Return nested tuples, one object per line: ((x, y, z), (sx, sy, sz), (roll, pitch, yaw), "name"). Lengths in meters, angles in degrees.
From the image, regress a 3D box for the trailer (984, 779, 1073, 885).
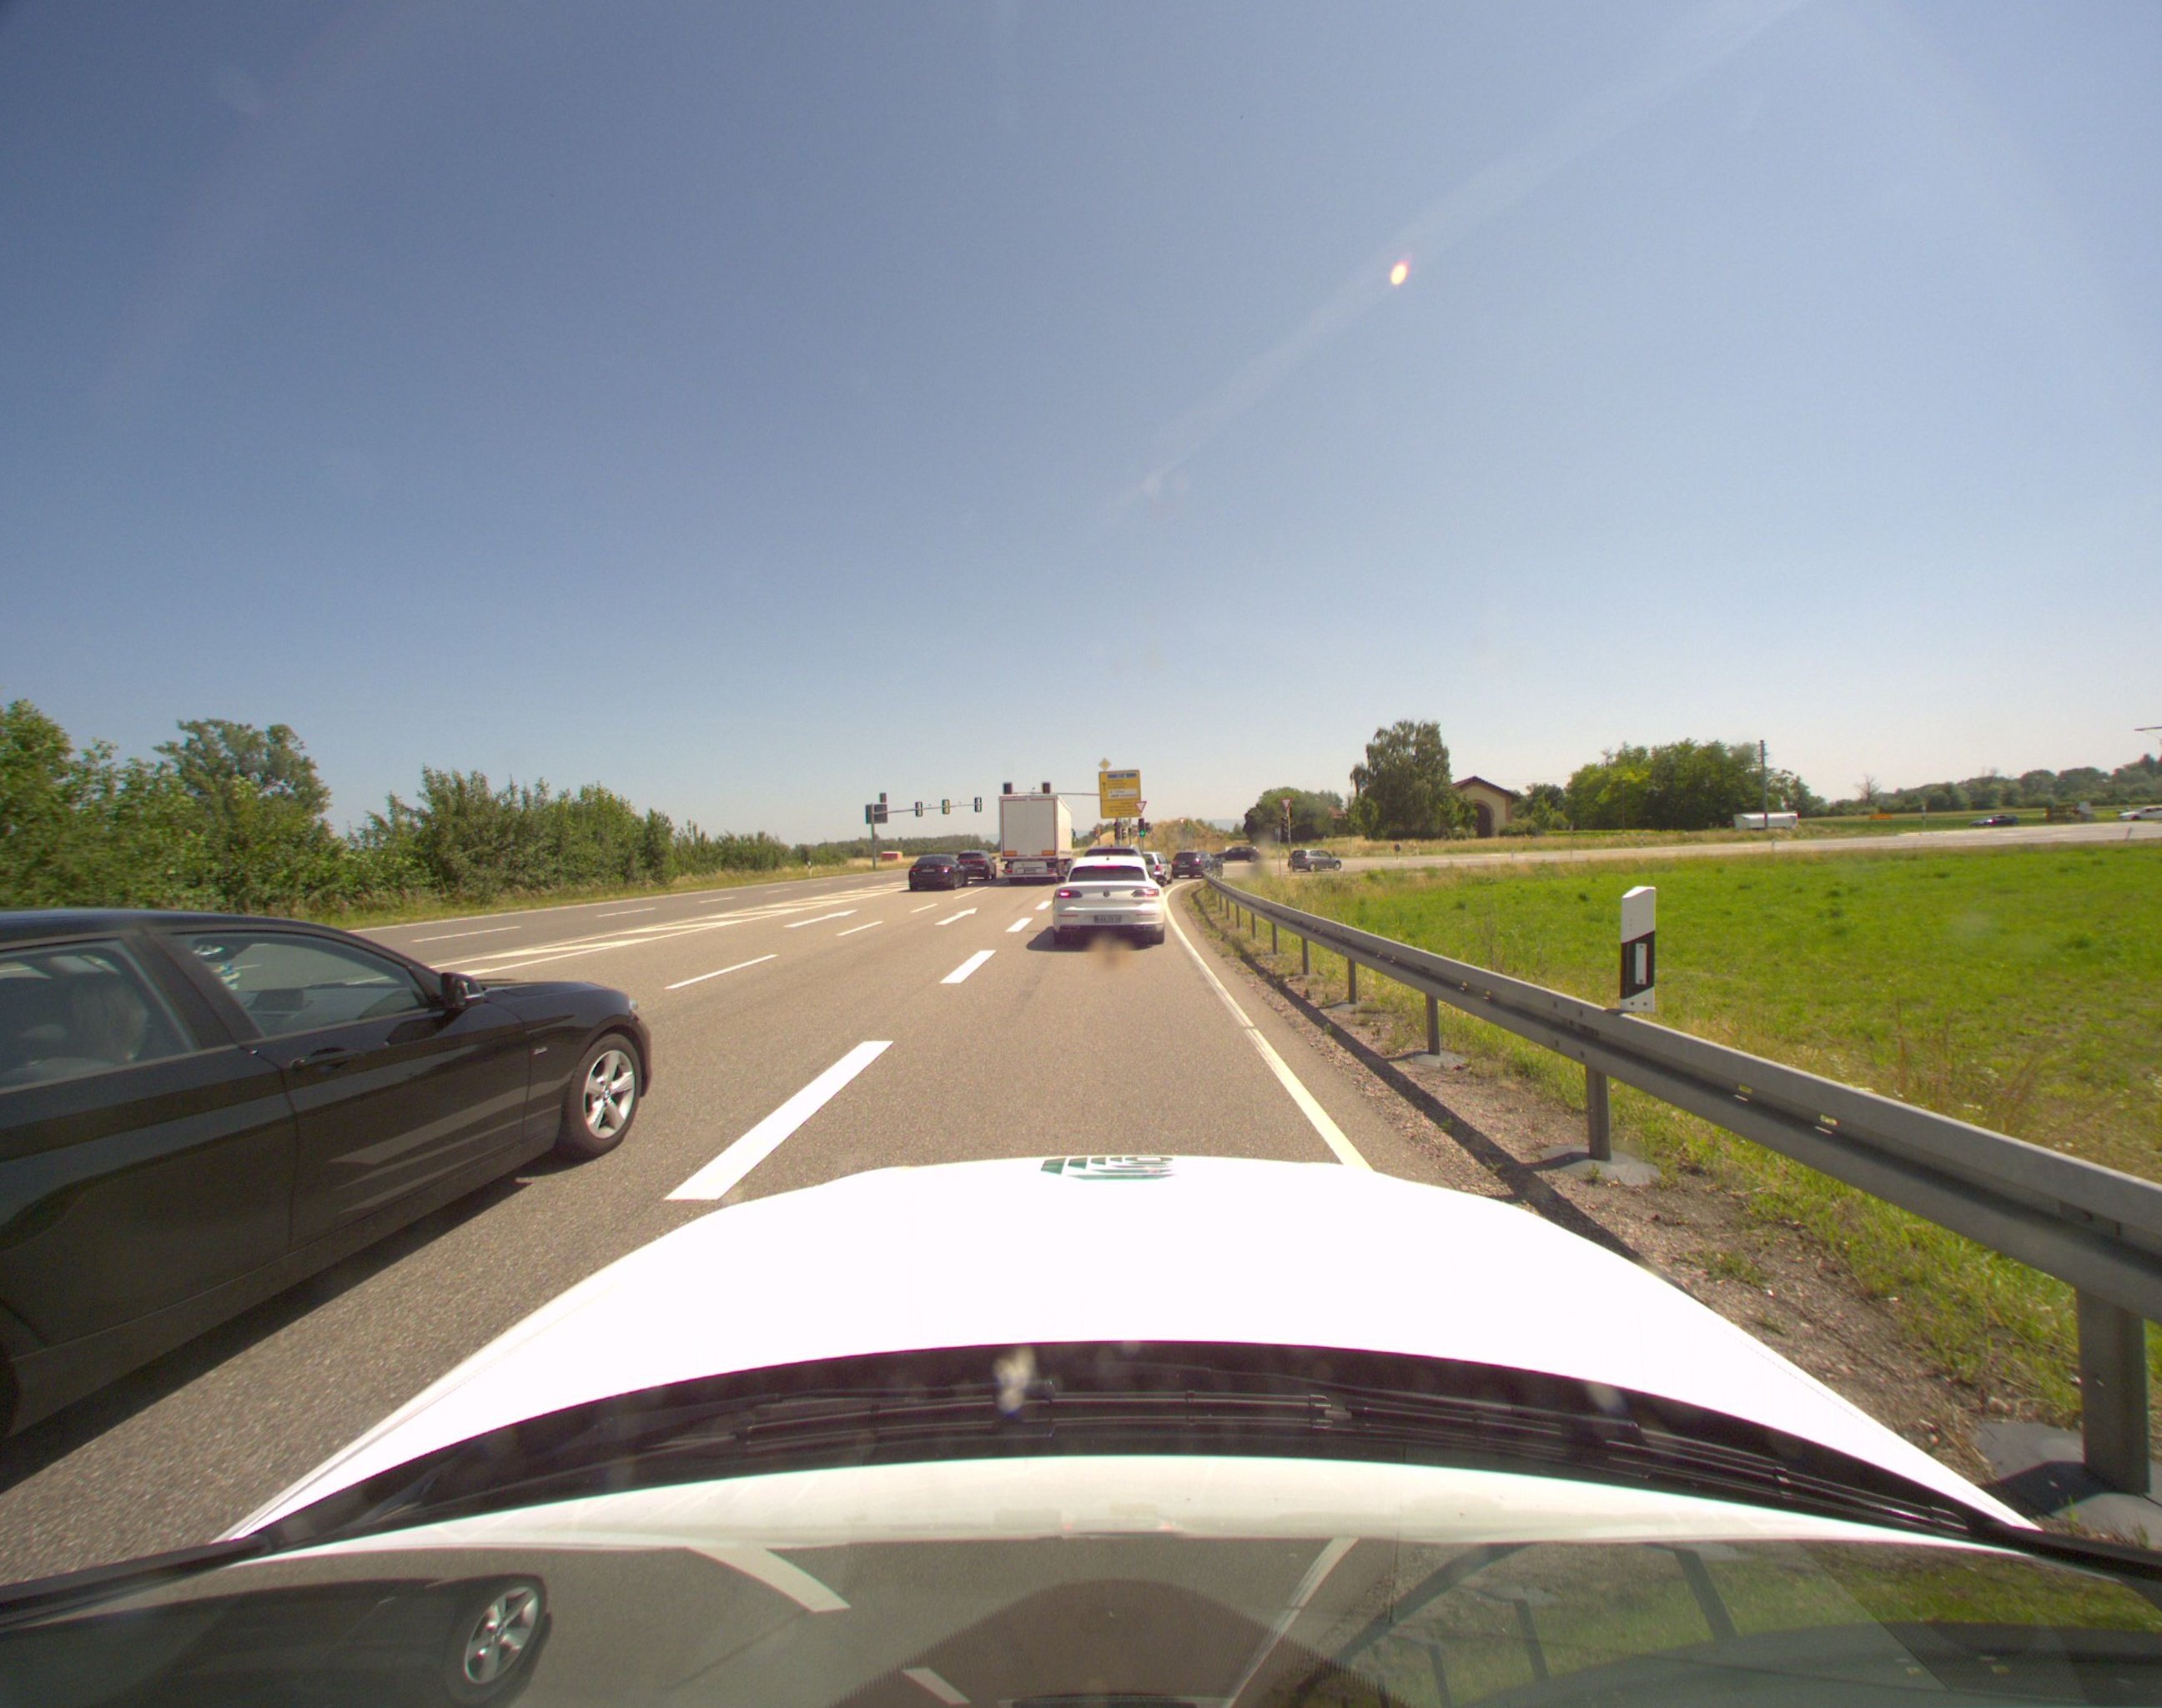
((-2.316, -0.962, 41.421), (3.369, 4.542, 12.874), (-1, 0, 1), "trailer")

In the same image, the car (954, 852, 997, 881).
((-5.690, 0.631, 44.289), (1.803, 1.493, 4.020), (-1, 0, 0), "car")

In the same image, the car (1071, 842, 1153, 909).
((0.949, 0.538, 22.144), (1.925, 1.616, 4.385), (-1, 0, 6), "car")

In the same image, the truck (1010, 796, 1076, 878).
((-2.127, -0.984, 48.678), (3.368, 4.542, 6.375), (-1, 0, 2), "truck")

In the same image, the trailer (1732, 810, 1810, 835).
((78.086, -3.555, 92.210), (6.330, 2.455, 2.691), (-3, 2, 6), "trailer")

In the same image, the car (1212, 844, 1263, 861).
((13.714, -0.130, 71.376), (4.240, 1.368, 1.778), (0, 2, 4), "car")

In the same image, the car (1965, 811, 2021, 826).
((97.538, -3.797, 87.127), (3.803, 1.387, 1.684), (-1, 2, 9), "car")

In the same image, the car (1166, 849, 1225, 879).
((6.167, 0.499, 43.459), (1.783, 1.476, 4.440), (-1, 0, 26), "car")

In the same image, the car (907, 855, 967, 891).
((-5.958, 0.756, 34.113), (1.803, 1.398, 4.020), (-1, 0, 0), "car")

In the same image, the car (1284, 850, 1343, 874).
((15.338, 0.528, 53.649), (3.900, 1.522, 1.785), (-1, 0, -37), "car")

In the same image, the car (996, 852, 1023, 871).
((-5.863, 0.574, 67.229), (1.803, 1.493, 4.020), (-1, 0, 0), "car")

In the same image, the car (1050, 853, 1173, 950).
((0.535, 0.721, 14.585), (1.841, 1.433, 4.610), (-1, 0, 2), "car")

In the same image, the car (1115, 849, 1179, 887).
((2.802, 0.548, 33.696), (1.785, 1.429, 4.111), (-1, 0, 17), "car")

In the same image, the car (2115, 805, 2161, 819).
((110.624, -4.342, 84.410), (3.985, 1.332, 1.708), (0, 3, 40), "car")

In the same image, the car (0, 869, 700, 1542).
((-3.300, 0.836, 2.806), (1.777, 1.430, 4.383), (-1, 0, 2), "car")
